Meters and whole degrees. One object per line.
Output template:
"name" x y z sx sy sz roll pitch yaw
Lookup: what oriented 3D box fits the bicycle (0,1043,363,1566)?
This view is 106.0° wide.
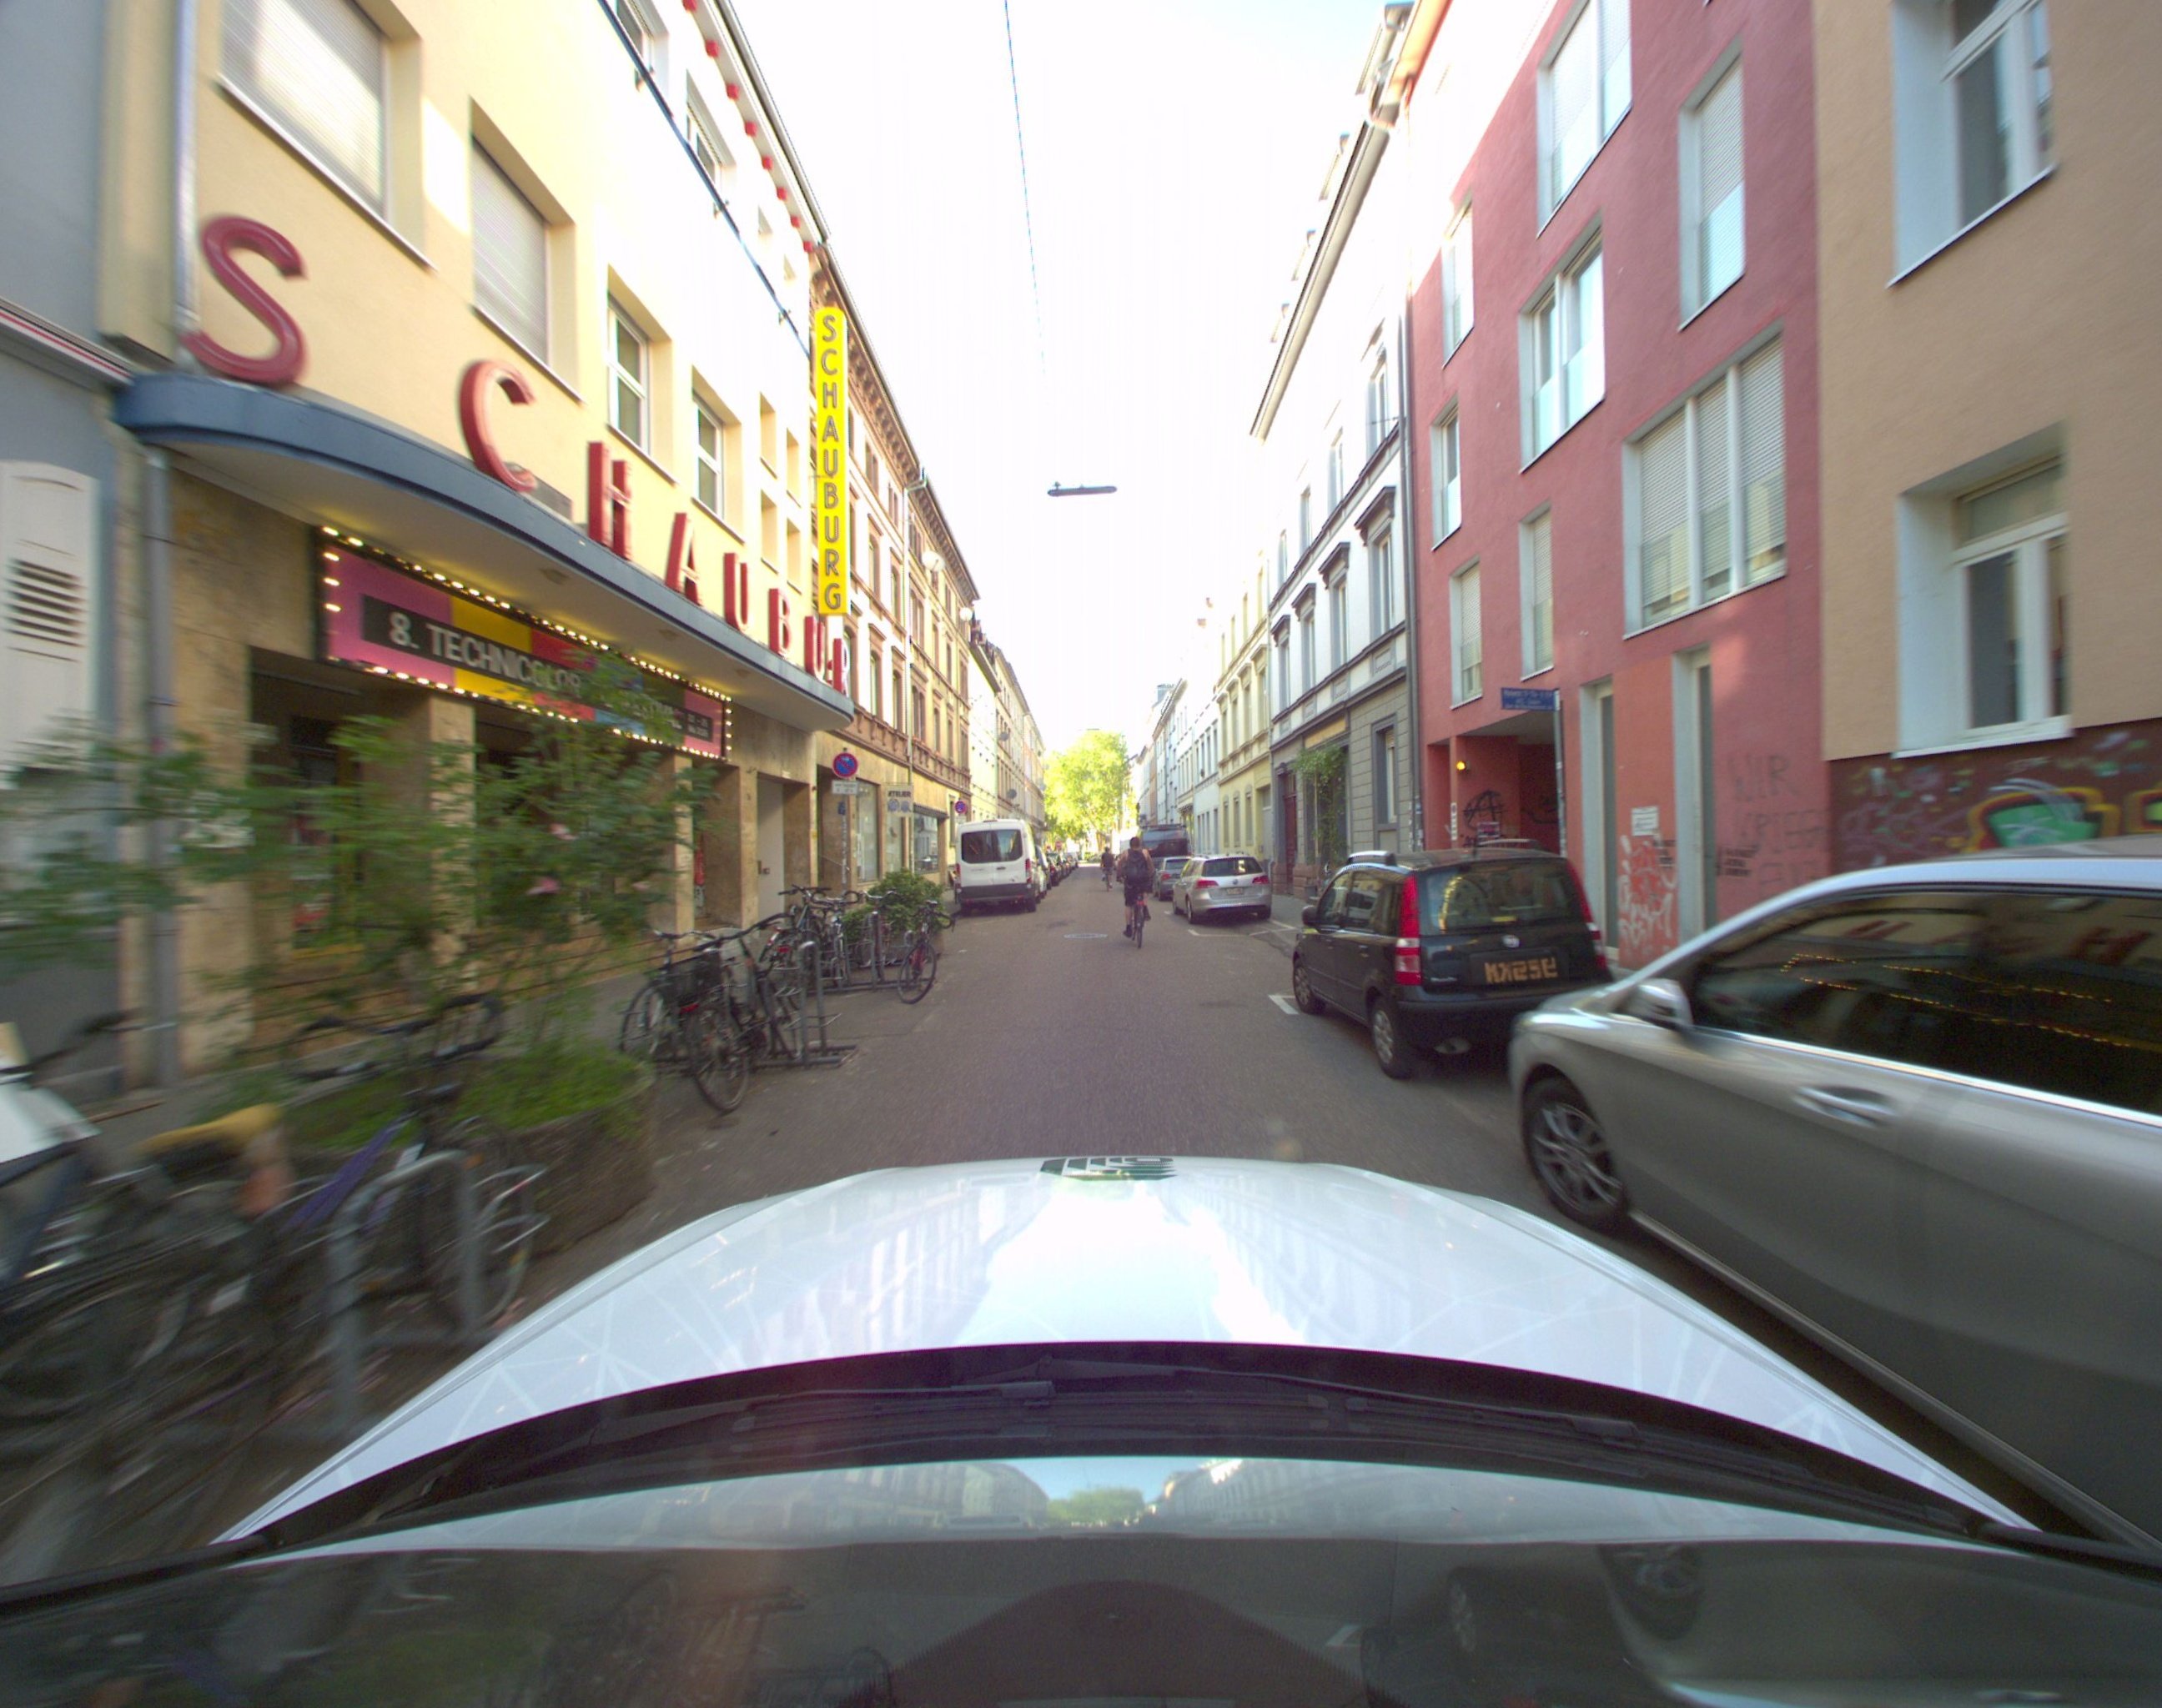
"bicycle" -2.663 1.102 1.890 0.552 0.944 1.572 -1 0 1

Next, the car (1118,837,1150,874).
"car" 3.932 0.108 60.672 2.195 2.550 6.040 -2 0 3

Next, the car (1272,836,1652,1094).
"car" 2.813 0.703 6.879 1.596 1.539 3.452 -4 0 2

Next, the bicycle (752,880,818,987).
"bicycle" -3.614 0.927 10.021 0.338 1.174 1.488 0 0 -3

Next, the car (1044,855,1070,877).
"car" -1.650 0.819 57.275 1.586 1.440 3.655 -2 0 2

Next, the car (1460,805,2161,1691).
"car" 2.773 0.671 2.098 1.739 1.556 4.173 -1 0 2

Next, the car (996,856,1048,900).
"car" -2.102 0.816 29.986 1.640 1.447 3.838 -2 0 -1

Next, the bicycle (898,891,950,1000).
"bicycle" -1.840 0.997 9.400 0.461 1.047 1.741 0 0 -15

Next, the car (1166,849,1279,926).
"car" 3.144 0.694 19.005 1.780 1.454 4.546 -4 0 0

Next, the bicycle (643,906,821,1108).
"bicycle" -2.411 0.985 5.870 0.545 1.094 1.880 0 0 -3

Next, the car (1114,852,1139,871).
"car" 3.742 0.625 67.202 1.726 1.470 4.018 -2 0 -2

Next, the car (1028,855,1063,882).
"car" -1.982 0.803 46.337 1.730 1.427 4.001 -2 0 1

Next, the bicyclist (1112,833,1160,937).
"bicyclist" 0.903 0.499 13.655 0.737 1.679 1.116 0 0 0

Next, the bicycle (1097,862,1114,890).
"bicycle" 0.984 0.882 33.065 0.662 1.037 1.959 -2 0 1

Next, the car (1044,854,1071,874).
"car" -1.775 0.767 62.252 1.667 1.430 3.891 -2 0 3

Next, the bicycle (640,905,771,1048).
"bicycle" -3.271 1.022 7.217 0.572 1.045 1.408 0 0 -3

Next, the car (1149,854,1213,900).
"car" 3.338 0.728 27.838 1.741 1.444 4.172 -1 0 1

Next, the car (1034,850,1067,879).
"car" -1.920 0.665 52.297 1.794 1.698 4.000 -4 0 1

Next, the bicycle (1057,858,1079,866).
"bicycle" -1.651 1.043 101.409 2.708 0.892 0.618 -2 0 -2

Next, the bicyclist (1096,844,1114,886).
"bicyclist" 0.973 0.432 33.075 0.667 1.658 0.877 -2 0 1

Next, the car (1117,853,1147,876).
"car" 3.417 0.664 55.229 1.720 1.429 3.831 -2 0 -1

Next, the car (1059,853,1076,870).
"car" -1.381 0.717 79.647 1.540 1.550 3.462 -2 0 -2

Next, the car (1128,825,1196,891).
"car" 3.254 0.150 34.119 2.168 2.425 6.309 -3 0 0

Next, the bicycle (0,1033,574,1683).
"bicycle" -2.051 1.110 2.239 0.389 0.916 1.393 -1 0 1

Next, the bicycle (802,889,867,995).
"bicycle" -3.123 1.072 10.439 0.398 1.174 1.668 0 0 -3

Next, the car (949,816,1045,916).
"car" -2.294 0.304 23.933 2.161 2.452 5.920 -3 0 -1

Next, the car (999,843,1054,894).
"car" -2.242 0.574 34.583 1.821 1.891 4.614 -4 0 1

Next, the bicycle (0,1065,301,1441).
"bicycle" -3.110 1.211 2.444 0.255 0.817 1.300 -1 0 2

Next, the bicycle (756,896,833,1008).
"bicycle" -3.067 1.011 8.801 0.416 1.047 1.317 0 0 -3

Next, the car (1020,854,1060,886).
"car" -2.006 0.779 41.275 1.857 1.440 4.643 -2 1 -1

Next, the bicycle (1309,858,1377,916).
"bicycle" 5.488 0.666 17.163 0.708 1.097 1.900 -4 0 -2

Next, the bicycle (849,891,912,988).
"bicycle" -2.538 1.039 10.467 0.441 1.047 1.863 0 0 -3

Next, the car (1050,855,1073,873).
"car" -1.581 0.803 67.312 1.700 1.414 4.302 -2 0 1

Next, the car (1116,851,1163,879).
"car" 3.539 0.648 50.176 1.811 1.478 4.594 -5 1 -9

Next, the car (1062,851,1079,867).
"car" -1.191 0.569 91.850 1.782 1.737 3.876 -2 0 0

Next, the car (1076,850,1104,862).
"car" 1.420 0.347 130.888 4.460 1.759 1.864 -2 0 -4

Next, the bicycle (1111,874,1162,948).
"bicycle" 0.906 0.911 13.690 0.737 1.100 2.042 0 0 0

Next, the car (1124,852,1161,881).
"car" 3.382 0.670 45.393 1.740 1.485 4.243 -2 0 1

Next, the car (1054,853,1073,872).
"car" -1.565 0.744 72.272 1.600 1.530 3.377 -3 0 -1
